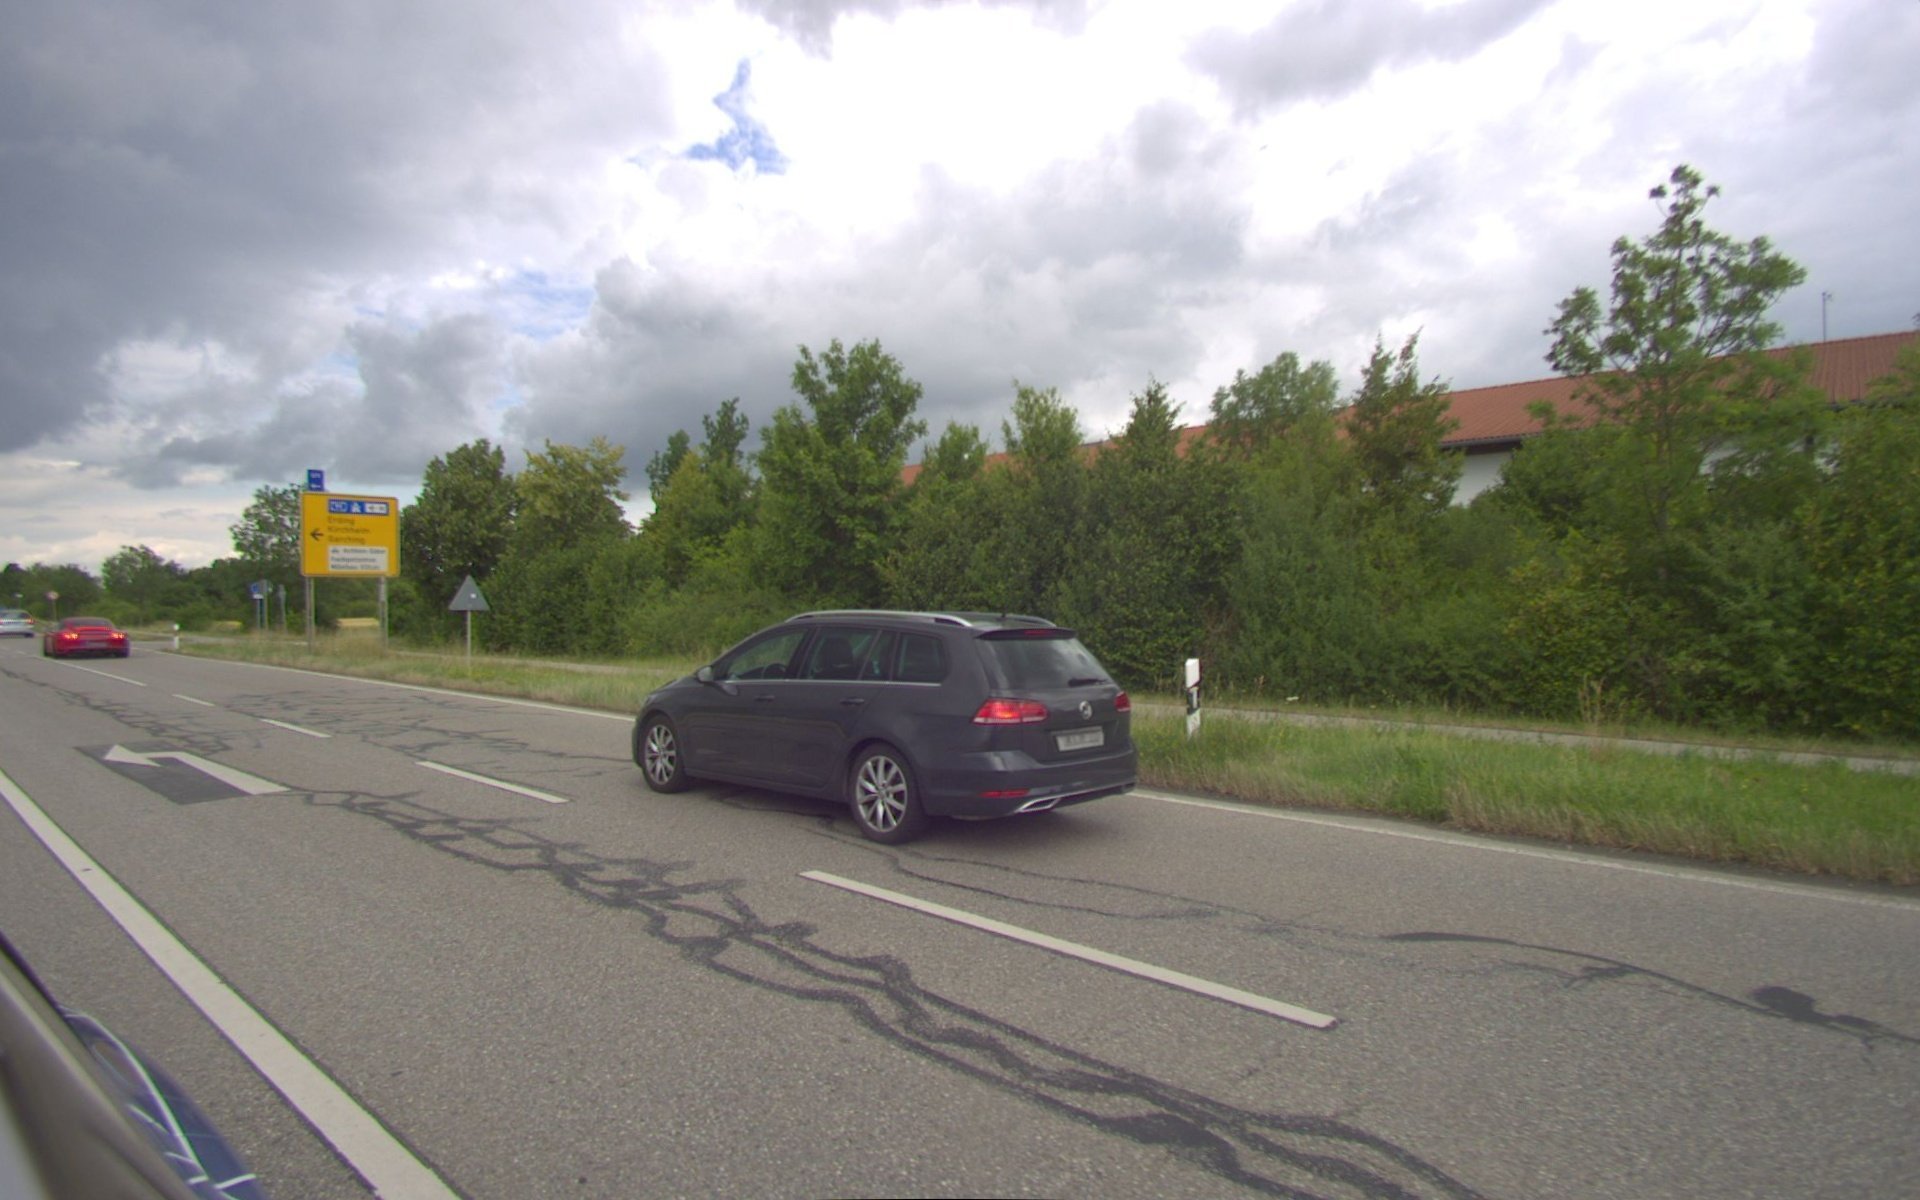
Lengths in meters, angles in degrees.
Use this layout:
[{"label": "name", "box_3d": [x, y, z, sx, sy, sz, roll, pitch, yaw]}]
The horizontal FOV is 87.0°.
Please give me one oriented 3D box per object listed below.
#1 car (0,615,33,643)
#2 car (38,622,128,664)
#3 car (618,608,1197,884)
[{"label": "car", "box_3d": [-51.654, 1.565, 54.811, 3.933, 1.442, 1.711, -1, -2, 42]}, {"label": "car", "box_3d": [-28.358, 1.342, 32.675, 4.211, 1.250, 1.752, -1, -1, 43]}, {"label": "car", "box_3d": [-0.612, 0.812, 7.360, 4.302, 1.440, 1.651, -1, -2, 42]}]
